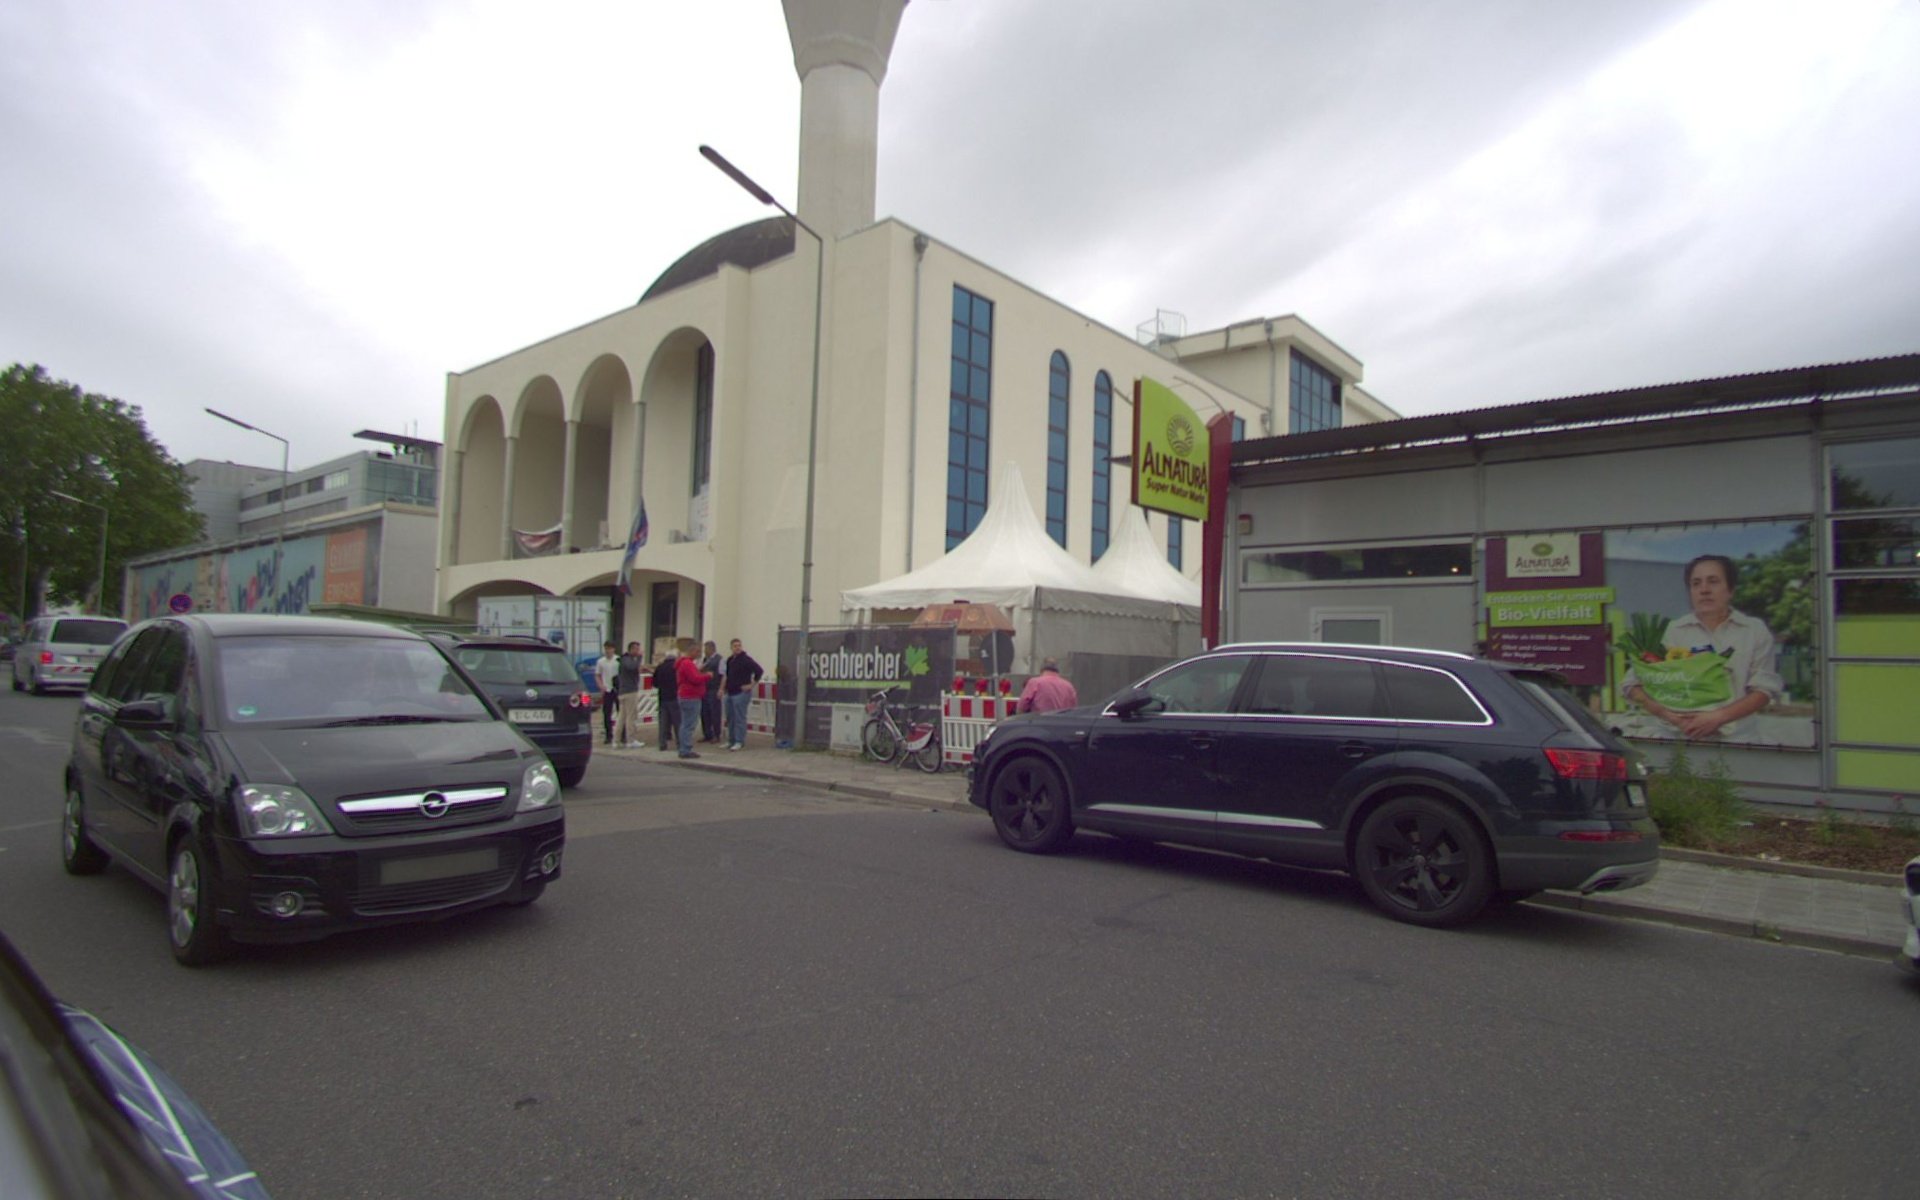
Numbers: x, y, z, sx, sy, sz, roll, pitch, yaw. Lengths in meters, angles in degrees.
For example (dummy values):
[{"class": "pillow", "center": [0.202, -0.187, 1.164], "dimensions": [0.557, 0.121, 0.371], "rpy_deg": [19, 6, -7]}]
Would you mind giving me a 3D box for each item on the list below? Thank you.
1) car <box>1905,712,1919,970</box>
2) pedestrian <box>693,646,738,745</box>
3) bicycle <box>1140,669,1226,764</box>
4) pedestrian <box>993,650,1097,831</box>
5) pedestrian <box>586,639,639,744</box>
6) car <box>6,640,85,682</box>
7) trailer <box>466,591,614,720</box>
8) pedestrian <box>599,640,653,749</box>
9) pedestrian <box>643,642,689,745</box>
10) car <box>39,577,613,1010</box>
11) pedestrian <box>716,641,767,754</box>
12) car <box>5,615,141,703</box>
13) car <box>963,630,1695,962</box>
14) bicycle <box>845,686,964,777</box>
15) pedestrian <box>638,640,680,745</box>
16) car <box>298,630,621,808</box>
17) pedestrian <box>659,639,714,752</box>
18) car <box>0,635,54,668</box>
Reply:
[{"class": "car", "center": [6.728, 1.236, 3.799], "dimensions": [4.514, 1.378, 1.681], "rpy_deg": [-1, -9, 40]}, {"class": "pedestrian", "center": [-4.170, 1.610, 17.257], "dimensions": [0.490, 1.624, 0.534], "rpy_deg": [-1, -3, 37]}, {"class": "bicycle", "center": [2.938, 1.491, 13.226], "dimensions": [0.392, 1.054, 1.644], "rpy_deg": [-2, 0, 39]}, {"class": "pedestrian", "center": [0.814, 1.336, 9.698], "dimensions": [0.664, 1.634, 0.655], "rpy_deg": [7, -7, -24]}, {"class": "pedestrian", "center": [-6.004, 1.575, 17.504], "dimensions": [0.681, 1.763, 0.491], "rpy_deg": [2, -4, -4]}, {"class": "car", "center": [-38.975, 2.578, 43.115], "dimensions": [4.148, 1.586, 1.904], "rpy_deg": [-2, -8, 42]}, {"class": "trailer", "center": [-9.277, 1.224, 22.296], "dimensions": [3.192, 2.627, 1.778], "rpy_deg": [-2, -5, 44]}, {"class": "pedestrian", "center": [-5.521, 1.557, 16.747], "dimensions": [0.681, 1.763, 0.491], "rpy_deg": [2, -4, -4]}, {"class": "pedestrian", "center": [-4.761, 1.509, 16.428], "dimensions": [0.563, 1.624, 0.491], "rpy_deg": [2, -4, -4]}, {"class": "car", "center": [-3.758, 0.822, 5.749], "dimensions": [3.756, 1.644, 1.663], "rpy_deg": [-2, -5, 41]}, {"class": "pedestrian", "center": [-3.499, 1.542, 16.232], "dimensions": [0.685, 1.731, 0.688], "rpy_deg": [-2, -3, -5]}, {"class": "car", "center": [-22.618, 1.447, 25.734], "dimensions": [4.953, 2.029, 1.906], "rpy_deg": [-1, -4, 42]}, {"class": "car", "center": [2.439, 1.170, 7.523], "dimensions": [4.727, 1.704, 1.846], "rpy_deg": [-2, -8, 42]}, {"class": "bicycle", "center": [-0.797, 1.795, 14.107], "dimensions": [0.537, 1.086, 1.903], "rpy_deg": [4, -4, -43]}, {"class": "pedestrian", "center": [-5.174, 1.585, 17.434], "dimensions": [0.520, 1.763, 0.491], "rpy_deg": [2, -4, -4]}, {"class": "car", "center": [-5.527, 1.155, 10.986], "dimensions": [3.944, 1.584, 1.711], "rpy_deg": [-2, -5, 41]}, {"class": "pedestrian", "center": [-4.080, 1.422, 15.125], "dimensions": [0.535, 1.624, 0.489], "rpy_deg": [1, -5, 13]}, {"class": "car", "center": [-50.281, 2.733, 54.312], "dimensions": [4.148, 1.586, 1.904], "rpy_deg": [-2, -8, 42]}]
